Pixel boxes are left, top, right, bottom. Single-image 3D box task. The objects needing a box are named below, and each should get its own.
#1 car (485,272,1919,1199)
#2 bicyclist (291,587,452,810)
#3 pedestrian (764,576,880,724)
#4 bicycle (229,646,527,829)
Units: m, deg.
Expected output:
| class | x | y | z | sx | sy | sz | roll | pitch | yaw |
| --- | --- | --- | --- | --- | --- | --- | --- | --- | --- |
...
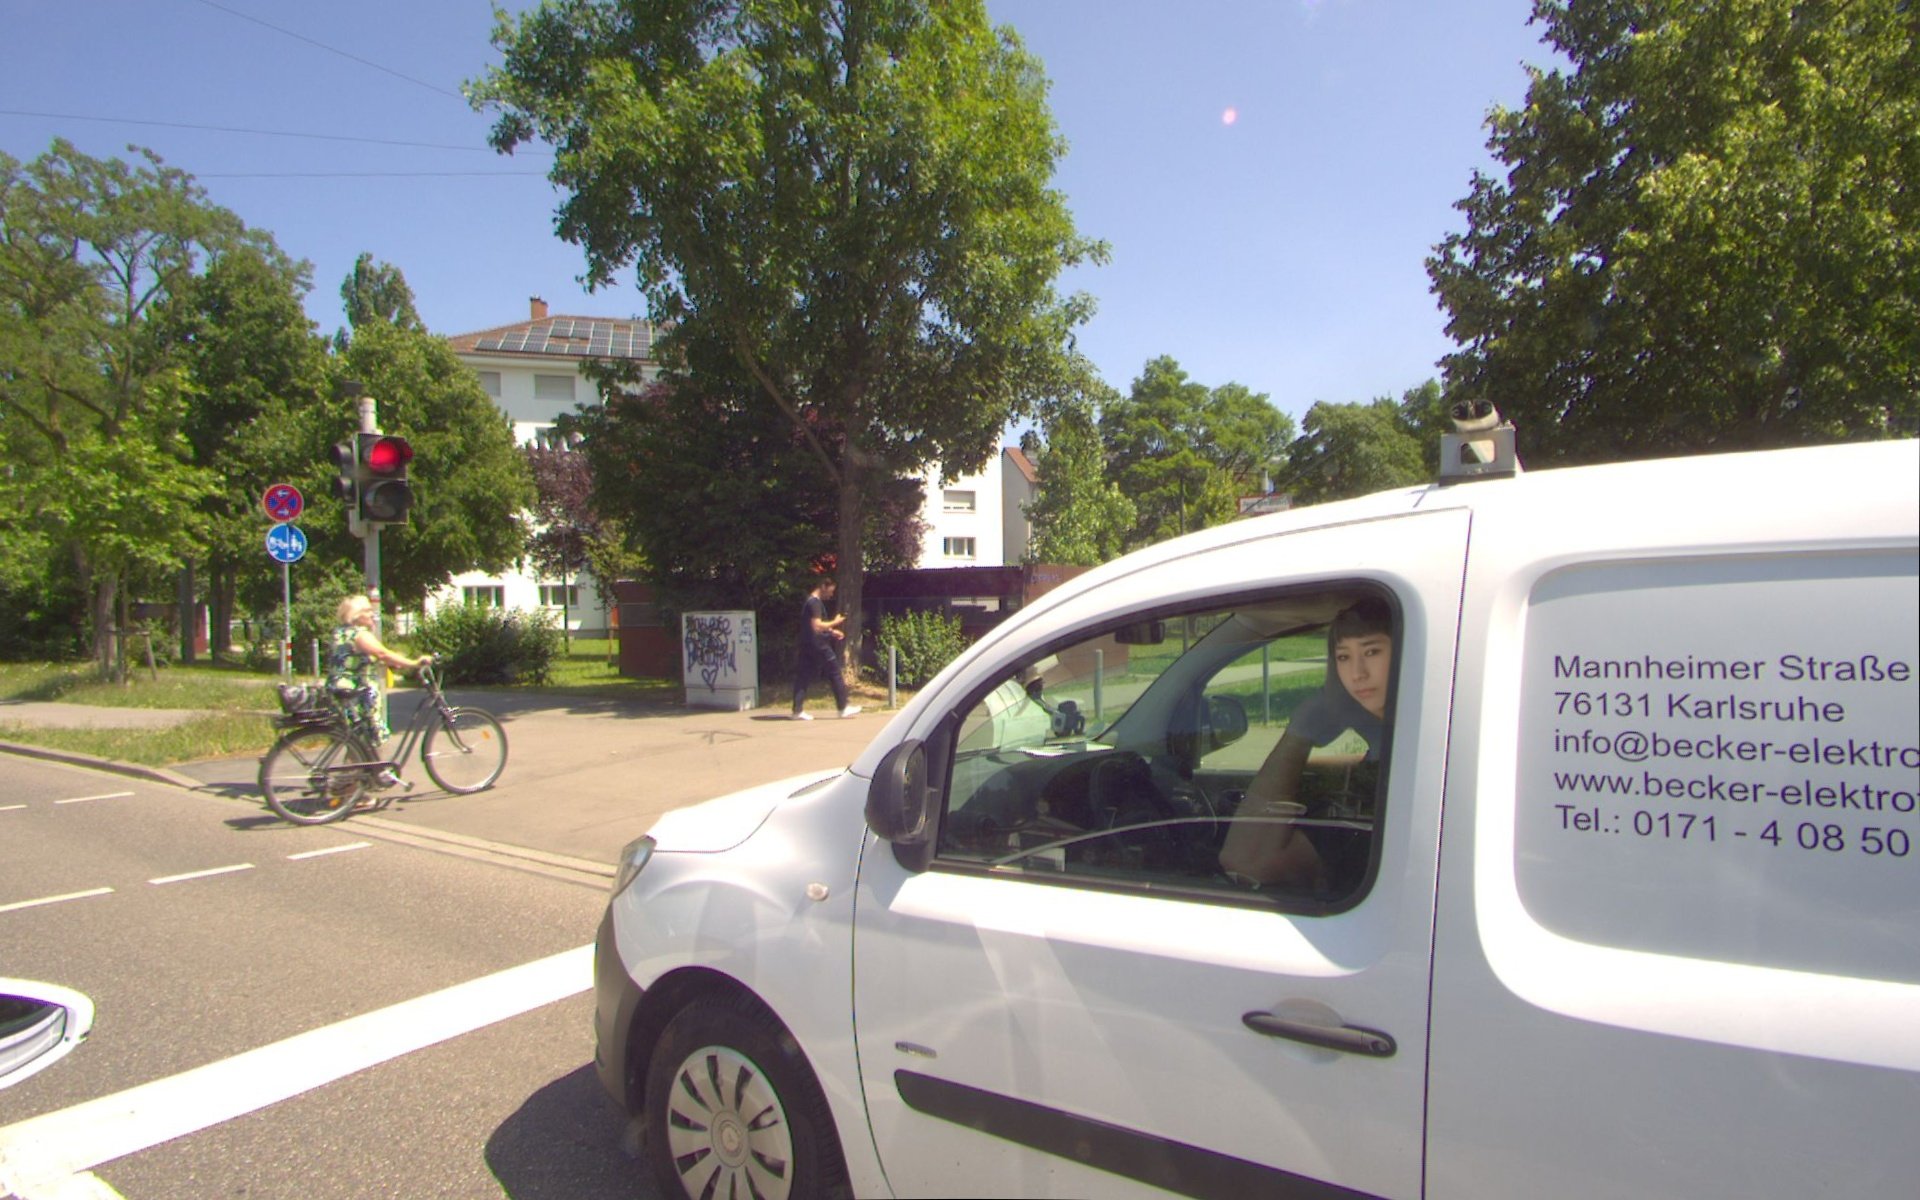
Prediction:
| class | x | y | z | sx | sy | sz | roll | pitch | yaw |
| --- | --- | --- | --- | --- | --- | --- | --- | --- | --- |
| car | 1.126 | 0.567 | 2.305 | 4.384 | 1.850 | 1.990 | -1 | 0 | 32 |
| bicyclist | -4.789 | 0.753 | 8.172 | 0.574 | 1.689 | 0.952 | -1 | 1 | 42 |
| pedestrian | -1.783 | 0.612 | 12.949 | 1.173 | 1.801 | 0.834 | -2 | 1 | -36 |
| bicycle | -4.551 | 1.015 | 7.969 | 0.535 | 1.177 | 1.947 | -1 | 1 | 42 |
